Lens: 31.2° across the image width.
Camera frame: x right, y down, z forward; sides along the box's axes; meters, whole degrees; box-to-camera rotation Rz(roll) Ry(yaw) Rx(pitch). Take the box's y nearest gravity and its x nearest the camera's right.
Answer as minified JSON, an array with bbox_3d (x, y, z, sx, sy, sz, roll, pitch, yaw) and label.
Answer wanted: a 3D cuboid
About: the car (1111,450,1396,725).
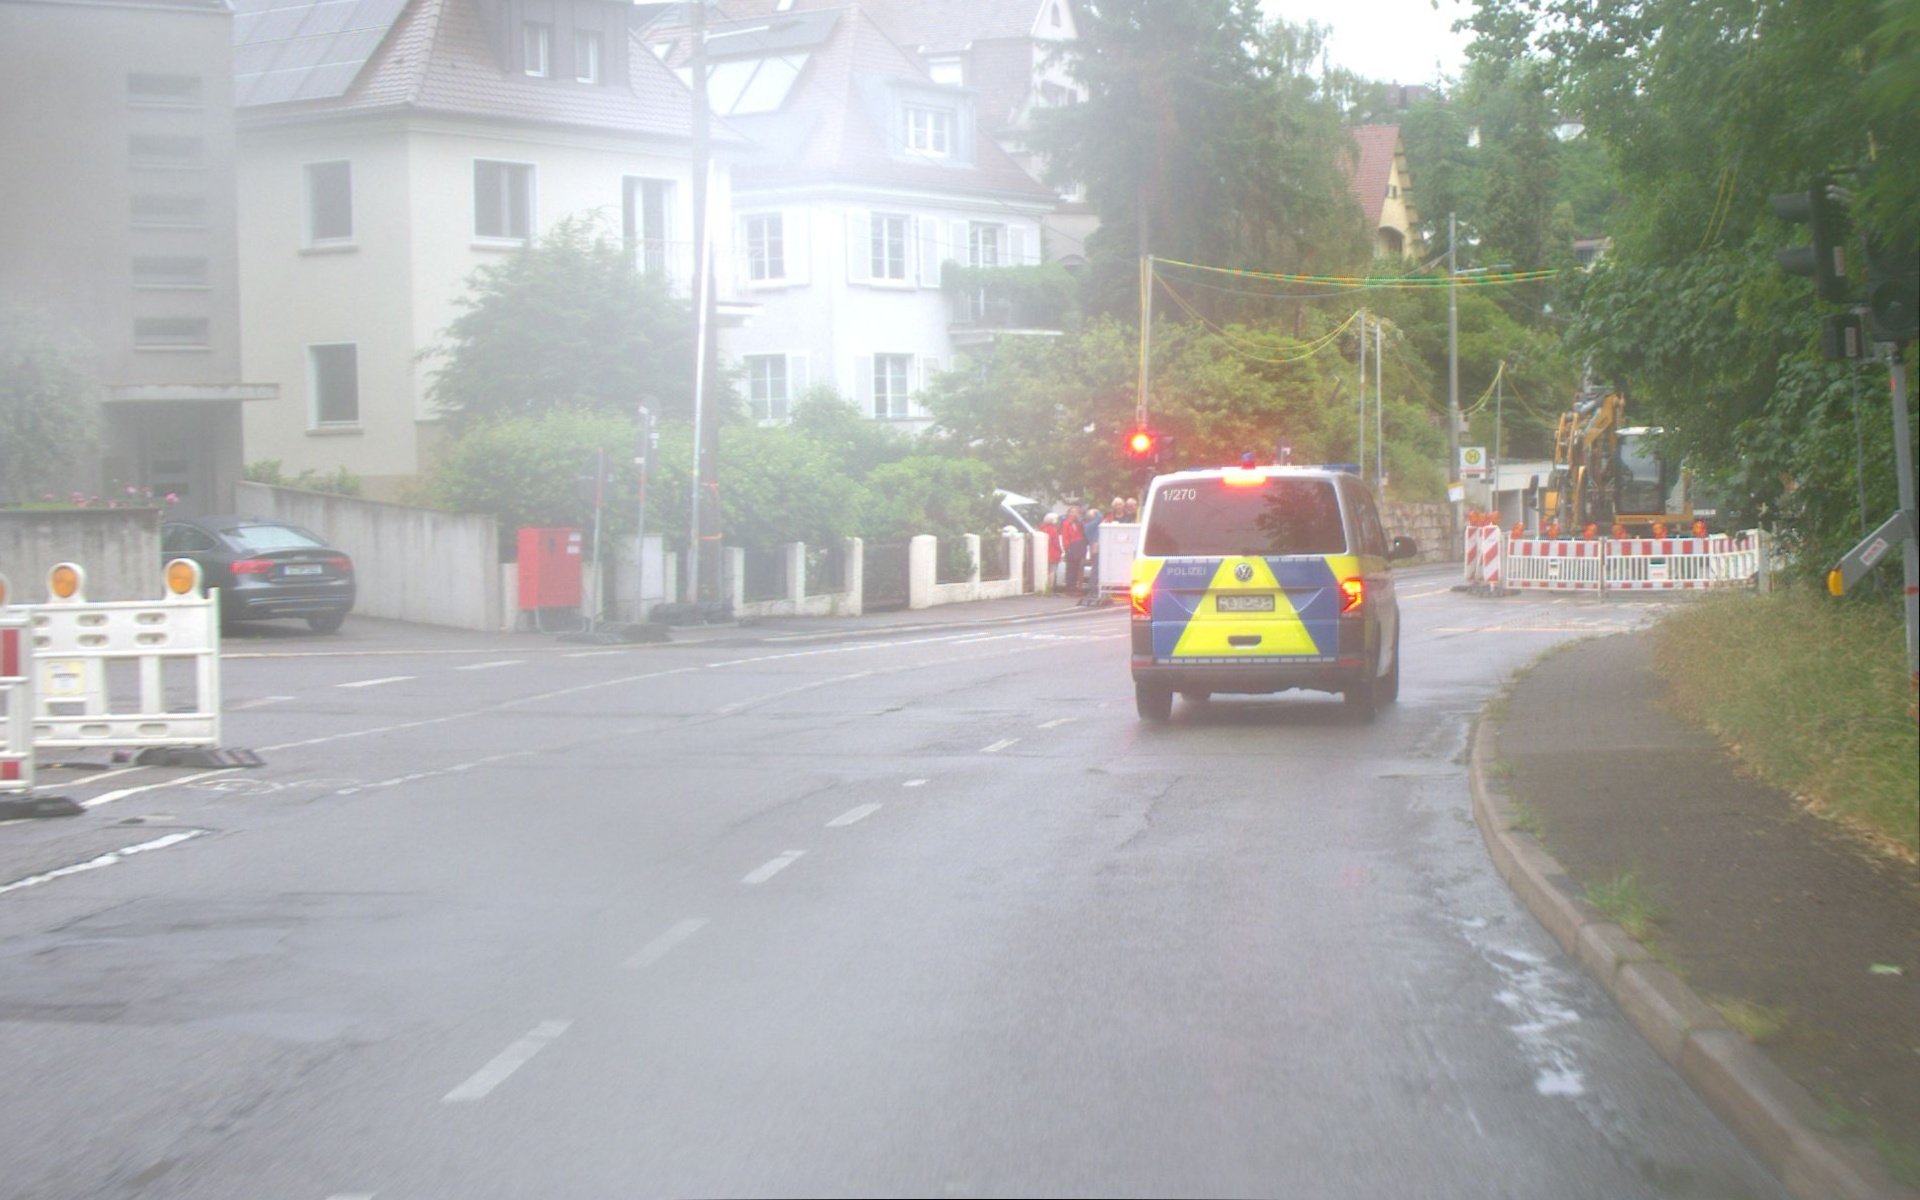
[{"bbox_3d":[2.459,-0.150,27.824,1.994,2.007,4.400,-1,1,8],"label":"car"}]

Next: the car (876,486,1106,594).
[{"bbox_3d":[0.584,-1.164,65.602,3.993,2.007,1.828,1,1,26],"label":"car"}]

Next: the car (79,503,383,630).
[{"bbox_3d":[-8.877,-0.444,41.681,1.834,1.438,3.998,-2,3,-42],"label":"car"}]

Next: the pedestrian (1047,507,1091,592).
[{"bbox_3d":[1.994,-0.919,62.607,0.626,1.516,0.592,2,0,16],"label":"pedestrian"}]

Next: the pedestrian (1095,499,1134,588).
[{"bbox_3d":[2.783,-1.012,61.872,0.563,1.577,0.468,2,0,16],"label":"pedestrian"}]

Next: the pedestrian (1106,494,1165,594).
[{"bbox_3d":[3.204,-1.016,62.802,0.890,1.781,0.828,2,0,13],"label":"pedestrian"}]

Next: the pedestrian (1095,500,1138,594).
[{"bbox_3d":[2.896,-0.982,63.742,0.626,1.709,0.592,2,0,16],"label":"pedestrian"}]
